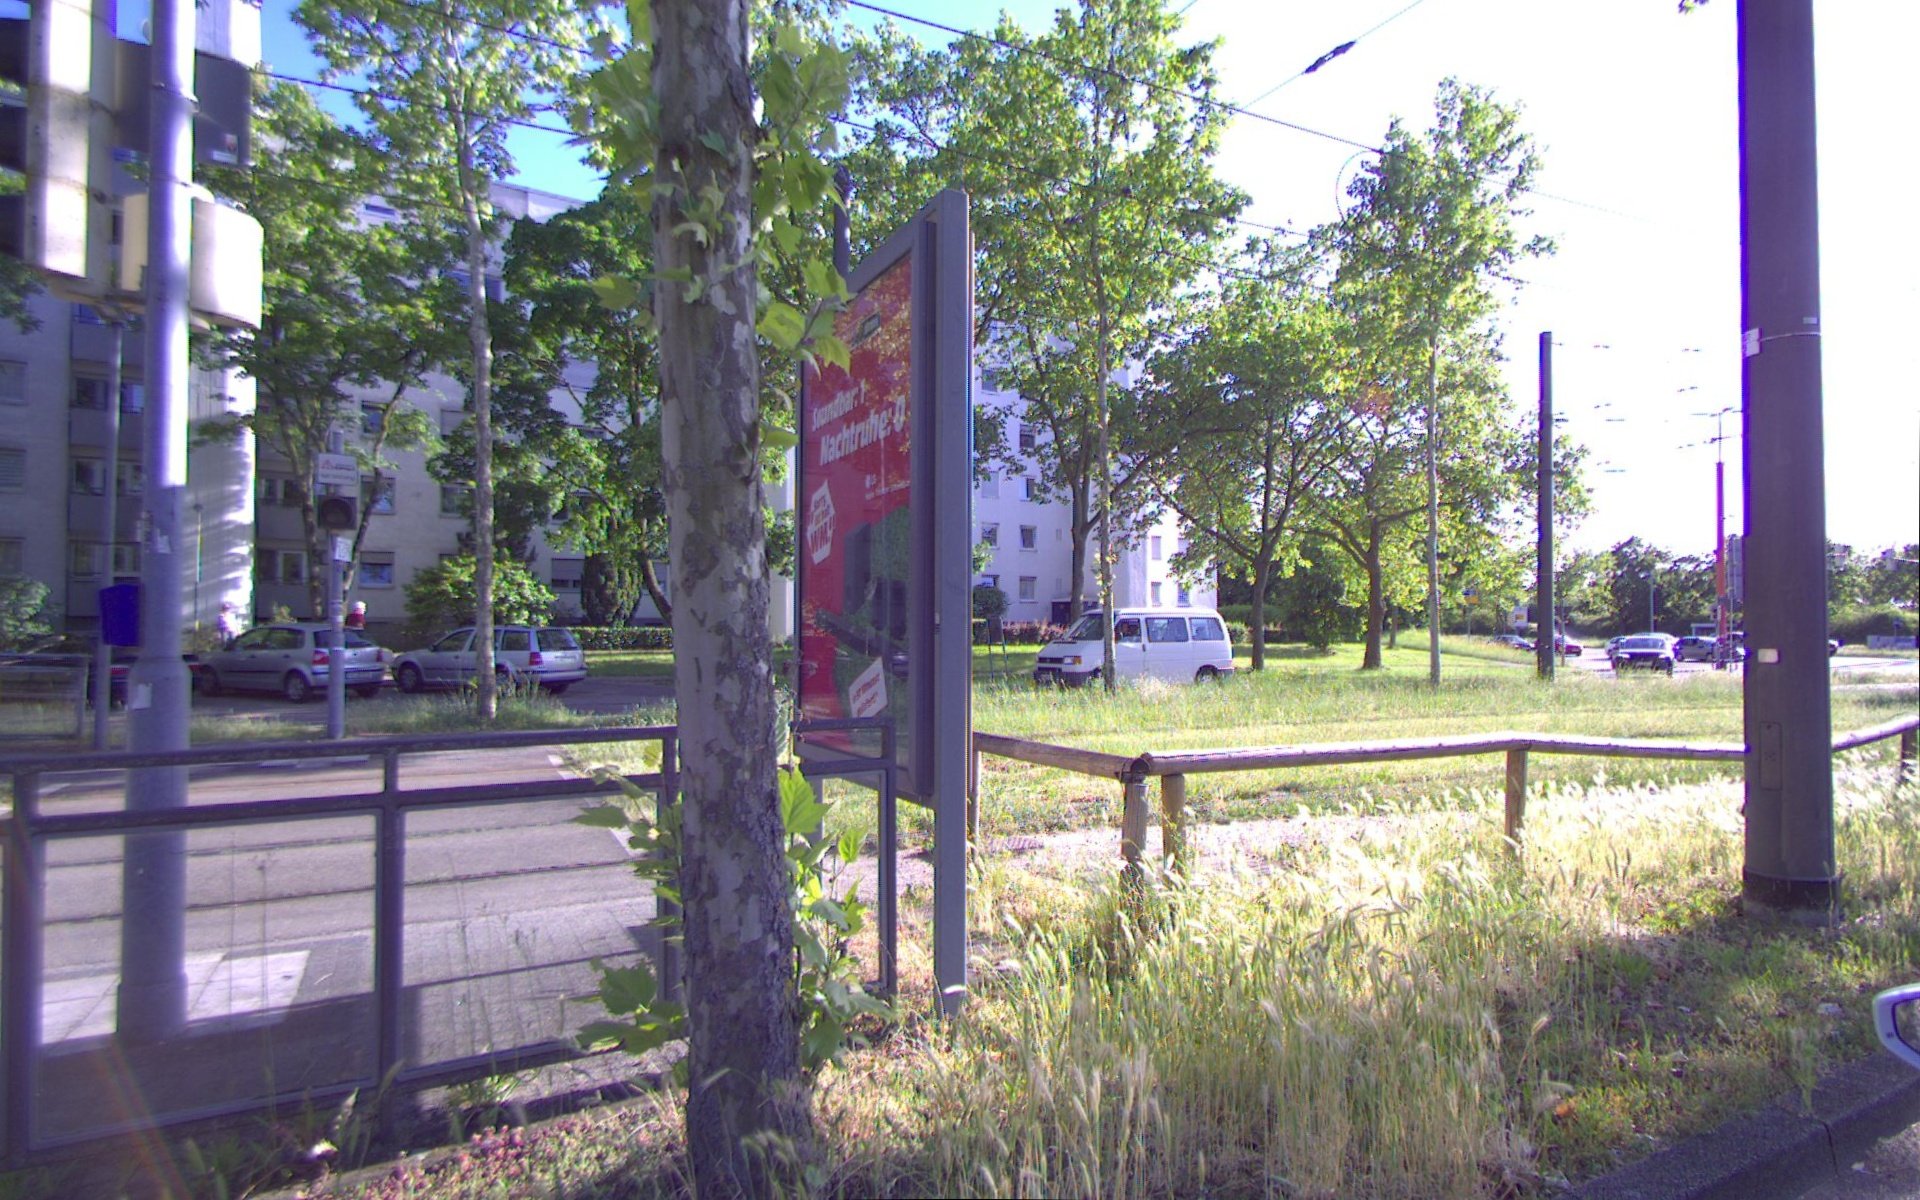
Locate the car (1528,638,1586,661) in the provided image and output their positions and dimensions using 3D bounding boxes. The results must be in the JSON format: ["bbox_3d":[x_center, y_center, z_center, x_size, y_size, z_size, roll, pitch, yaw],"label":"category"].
[{"bbox_3d":[43.358,3.547,73.008,1.699,1.533,3.998,1,-1,-3],"label":"car"}]

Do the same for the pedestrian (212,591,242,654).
[{"bbox_3d":[-21.094,0.657,28.913,0.628,1.780,0.518,1,-1,-32],"label":"pedestrian"}]

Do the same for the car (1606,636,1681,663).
[{"bbox_3d":[44.106,3.168,64.964,1.833,1.633,4.186,1,-1,-4],"label":"car"}]

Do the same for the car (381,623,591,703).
[{"bbox_3d":[-10.031,1.275,21.300,3.898,1.462,1.710,1,0,18],"label":"car"}]

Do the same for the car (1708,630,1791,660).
[{"bbox_3d":[47.362,2.678,60.372,1.960,1.666,4.001,1,-1,2],"label":"car"}]

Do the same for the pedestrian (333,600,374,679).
[{"bbox_3d":[-14.120,0.914,23.399,0.746,1.780,0.757,1,-1,-29],"label":"pedestrian"}]

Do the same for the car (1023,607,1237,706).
[{"bbox_3d":[3.831,1.212,22.436,4.594,2.018,1.784,1,-1,-28],"label":"car"}]

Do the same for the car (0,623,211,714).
[{"bbox_3d":[-15.664,1.166,18.190,3.850,1.367,1.593,2,0,23],"label":"car"}]

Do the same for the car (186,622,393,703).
[{"bbox_3d":[-13.282,1.191,19.927,3.547,1.439,1.576,1,0,19],"label":"car"}]

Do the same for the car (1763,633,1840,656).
[{"bbox_3d":[53.740,2.814,64.266,1.664,1.347,4.001,1,-1,2],"label":"car"}]

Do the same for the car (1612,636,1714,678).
[{"bbox_3d":[27.536,2.189,39.310,4.054,1.532,1.756,1,-1,-30],"label":"car"}]
